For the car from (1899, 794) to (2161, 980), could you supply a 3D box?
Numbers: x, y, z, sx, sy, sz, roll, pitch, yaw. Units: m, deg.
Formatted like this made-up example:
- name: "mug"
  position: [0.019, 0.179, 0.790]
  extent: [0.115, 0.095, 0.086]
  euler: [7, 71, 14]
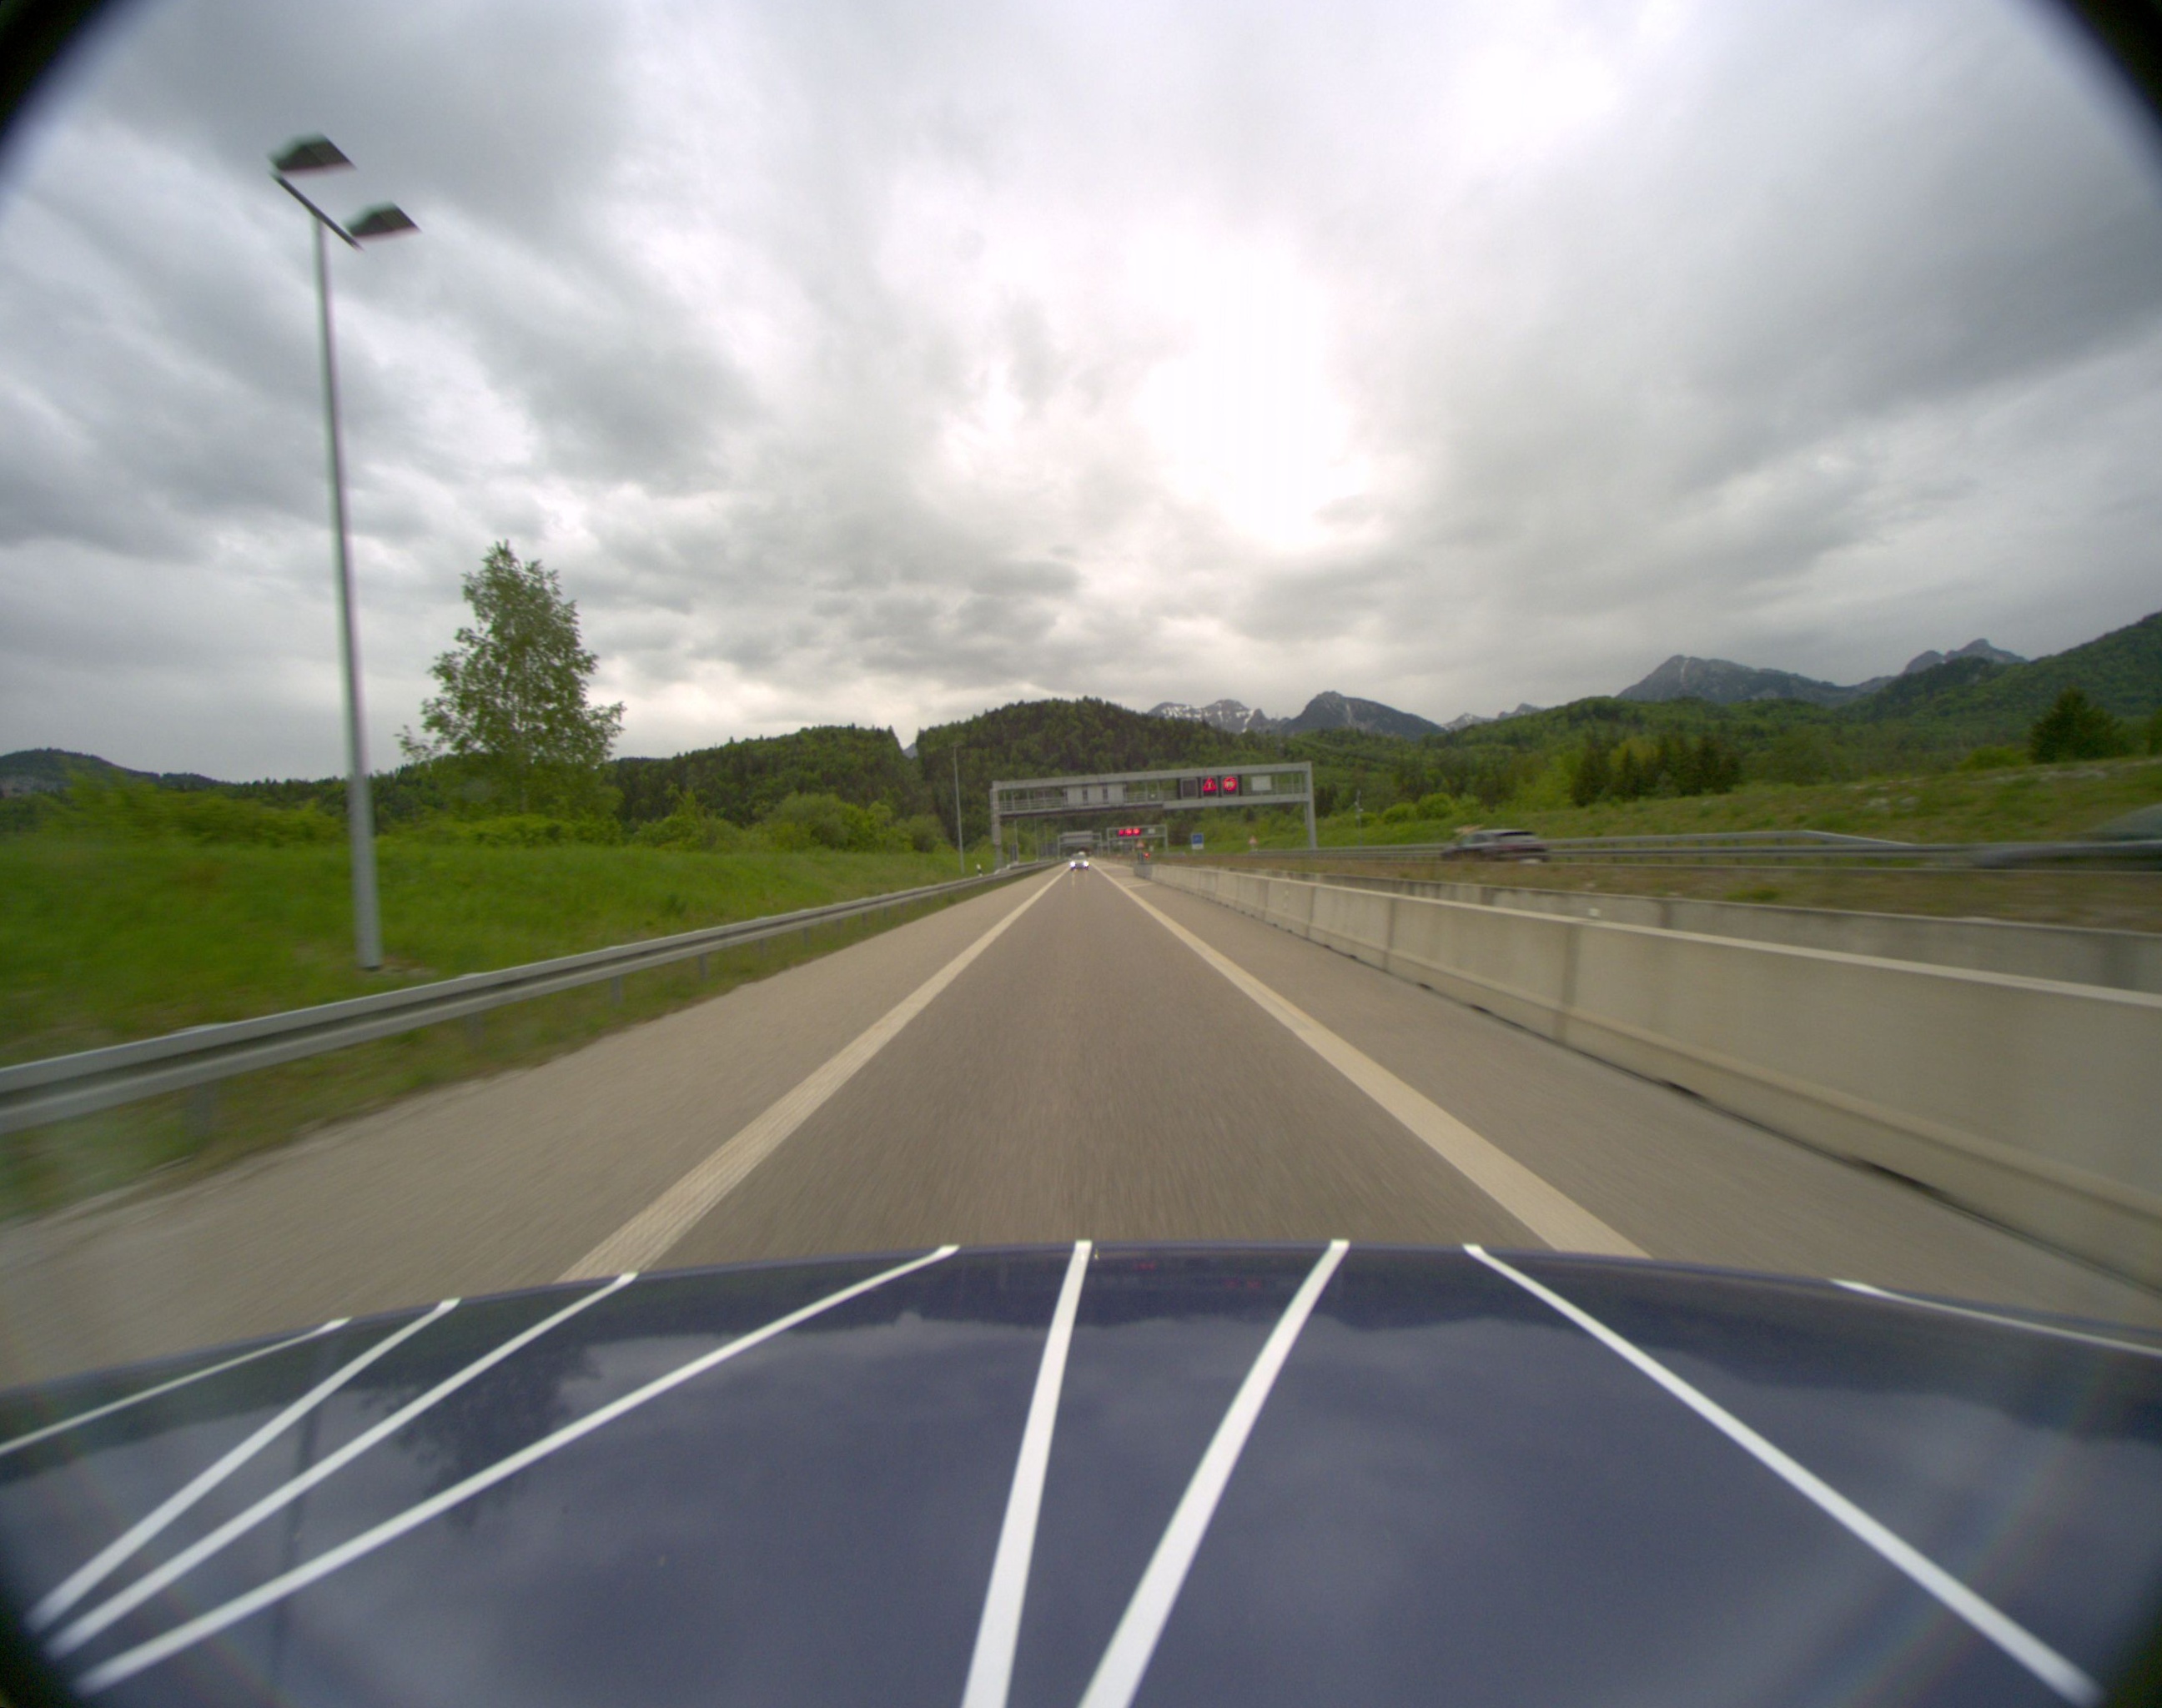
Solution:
- name: "car"
  position: [10.933, 0.263, 6.384]
  extent: [1.883, 1.726, 5.751]
  euler: [-3, 0, 0]

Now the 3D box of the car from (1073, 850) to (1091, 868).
- name: "car"
  position: [0.111, 0.538, 84.568]
  extent: [1.923, 1.871, 5.137]
  euler: [-2, 1, 0]

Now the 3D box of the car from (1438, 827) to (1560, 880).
- name: "car"
  position: [14.414, -0.016, 26.498]
  extent: [1.773, 1.598, 4.405]
  euler: [-3, 0, 0]
